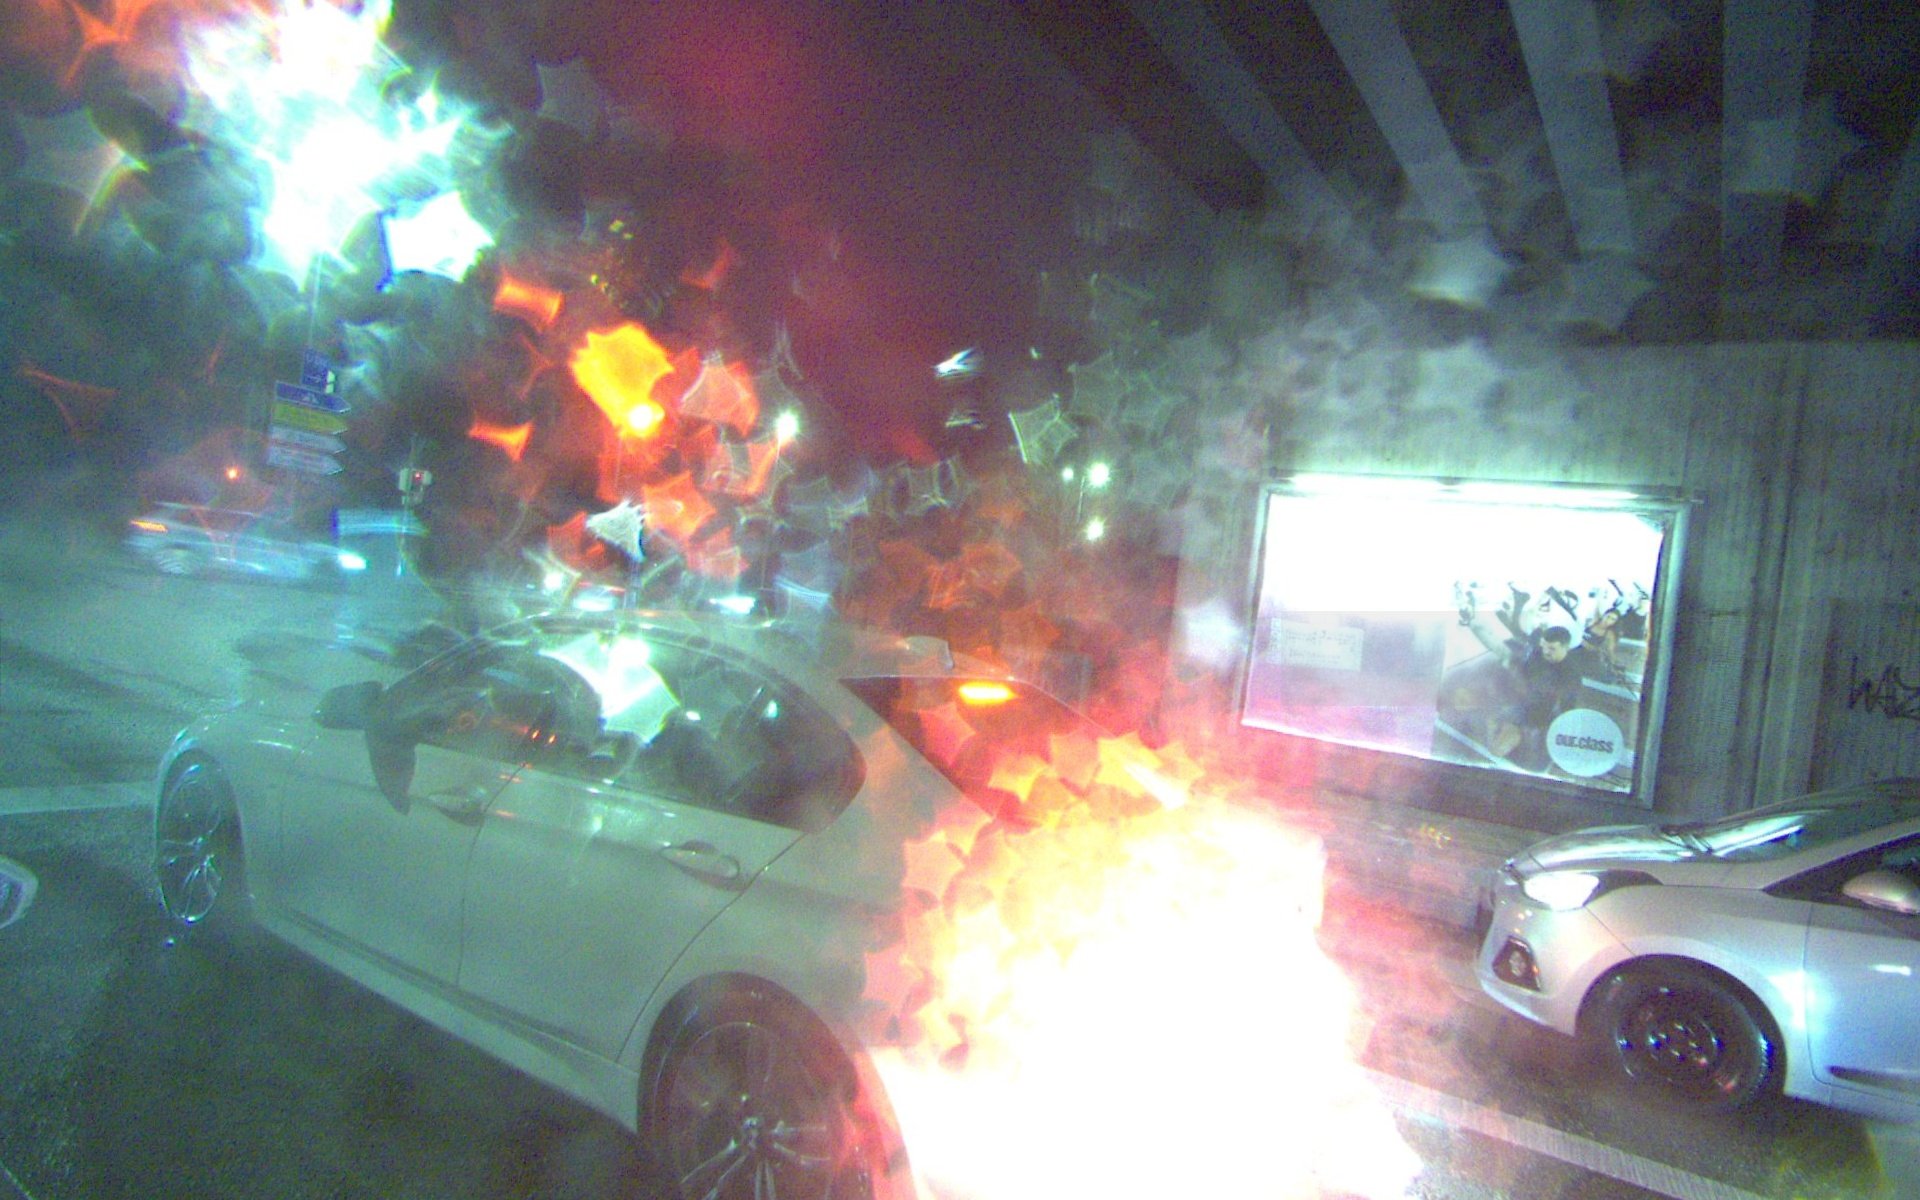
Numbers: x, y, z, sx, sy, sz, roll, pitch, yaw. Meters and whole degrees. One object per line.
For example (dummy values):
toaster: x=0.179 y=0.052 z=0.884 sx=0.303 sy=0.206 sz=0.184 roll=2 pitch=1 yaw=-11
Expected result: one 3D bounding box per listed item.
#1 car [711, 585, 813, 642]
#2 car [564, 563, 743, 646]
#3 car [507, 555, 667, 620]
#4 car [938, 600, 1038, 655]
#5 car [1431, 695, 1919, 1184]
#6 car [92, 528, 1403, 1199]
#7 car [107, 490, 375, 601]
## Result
car: x=-8.803 y=0.647 z=44.938 sx=1.970 sy=2.037 sz=3.988 roll=6 pitch=-2 yaw=37
car: x=-7.998 y=0.171 z=26.683 sx=1.805 sy=1.668 sz=4.424 roll=6 pitch=-2 yaw=29
car: x=-12.831 y=-0.387 z=34.872 sx=1.826 sy=1.609 sz=4.850 roll=6 pitch=-2 yaw=38
car: x=1.232 y=1.184 z=41.646 sx=1.807 sy=1.790 sz=4.830 roll=6 pitch=-2 yaw=32
car: x=4.283 y=1.421 z=4.026 sx=4.092 sy=1.465 sz=1.722 roll=6 pitch=1 yaw=31
car: x=-0.975 y=0.710 z=3.479 sx=4.309 sy=1.465 sz=1.722 roll=6 pitch=1 yaw=31
car: x=-15.597 y=-1.128 z=21.983 sx=4.438 sy=1.691 sz=1.817 roll=9 pitch=-2 yaw=-45
